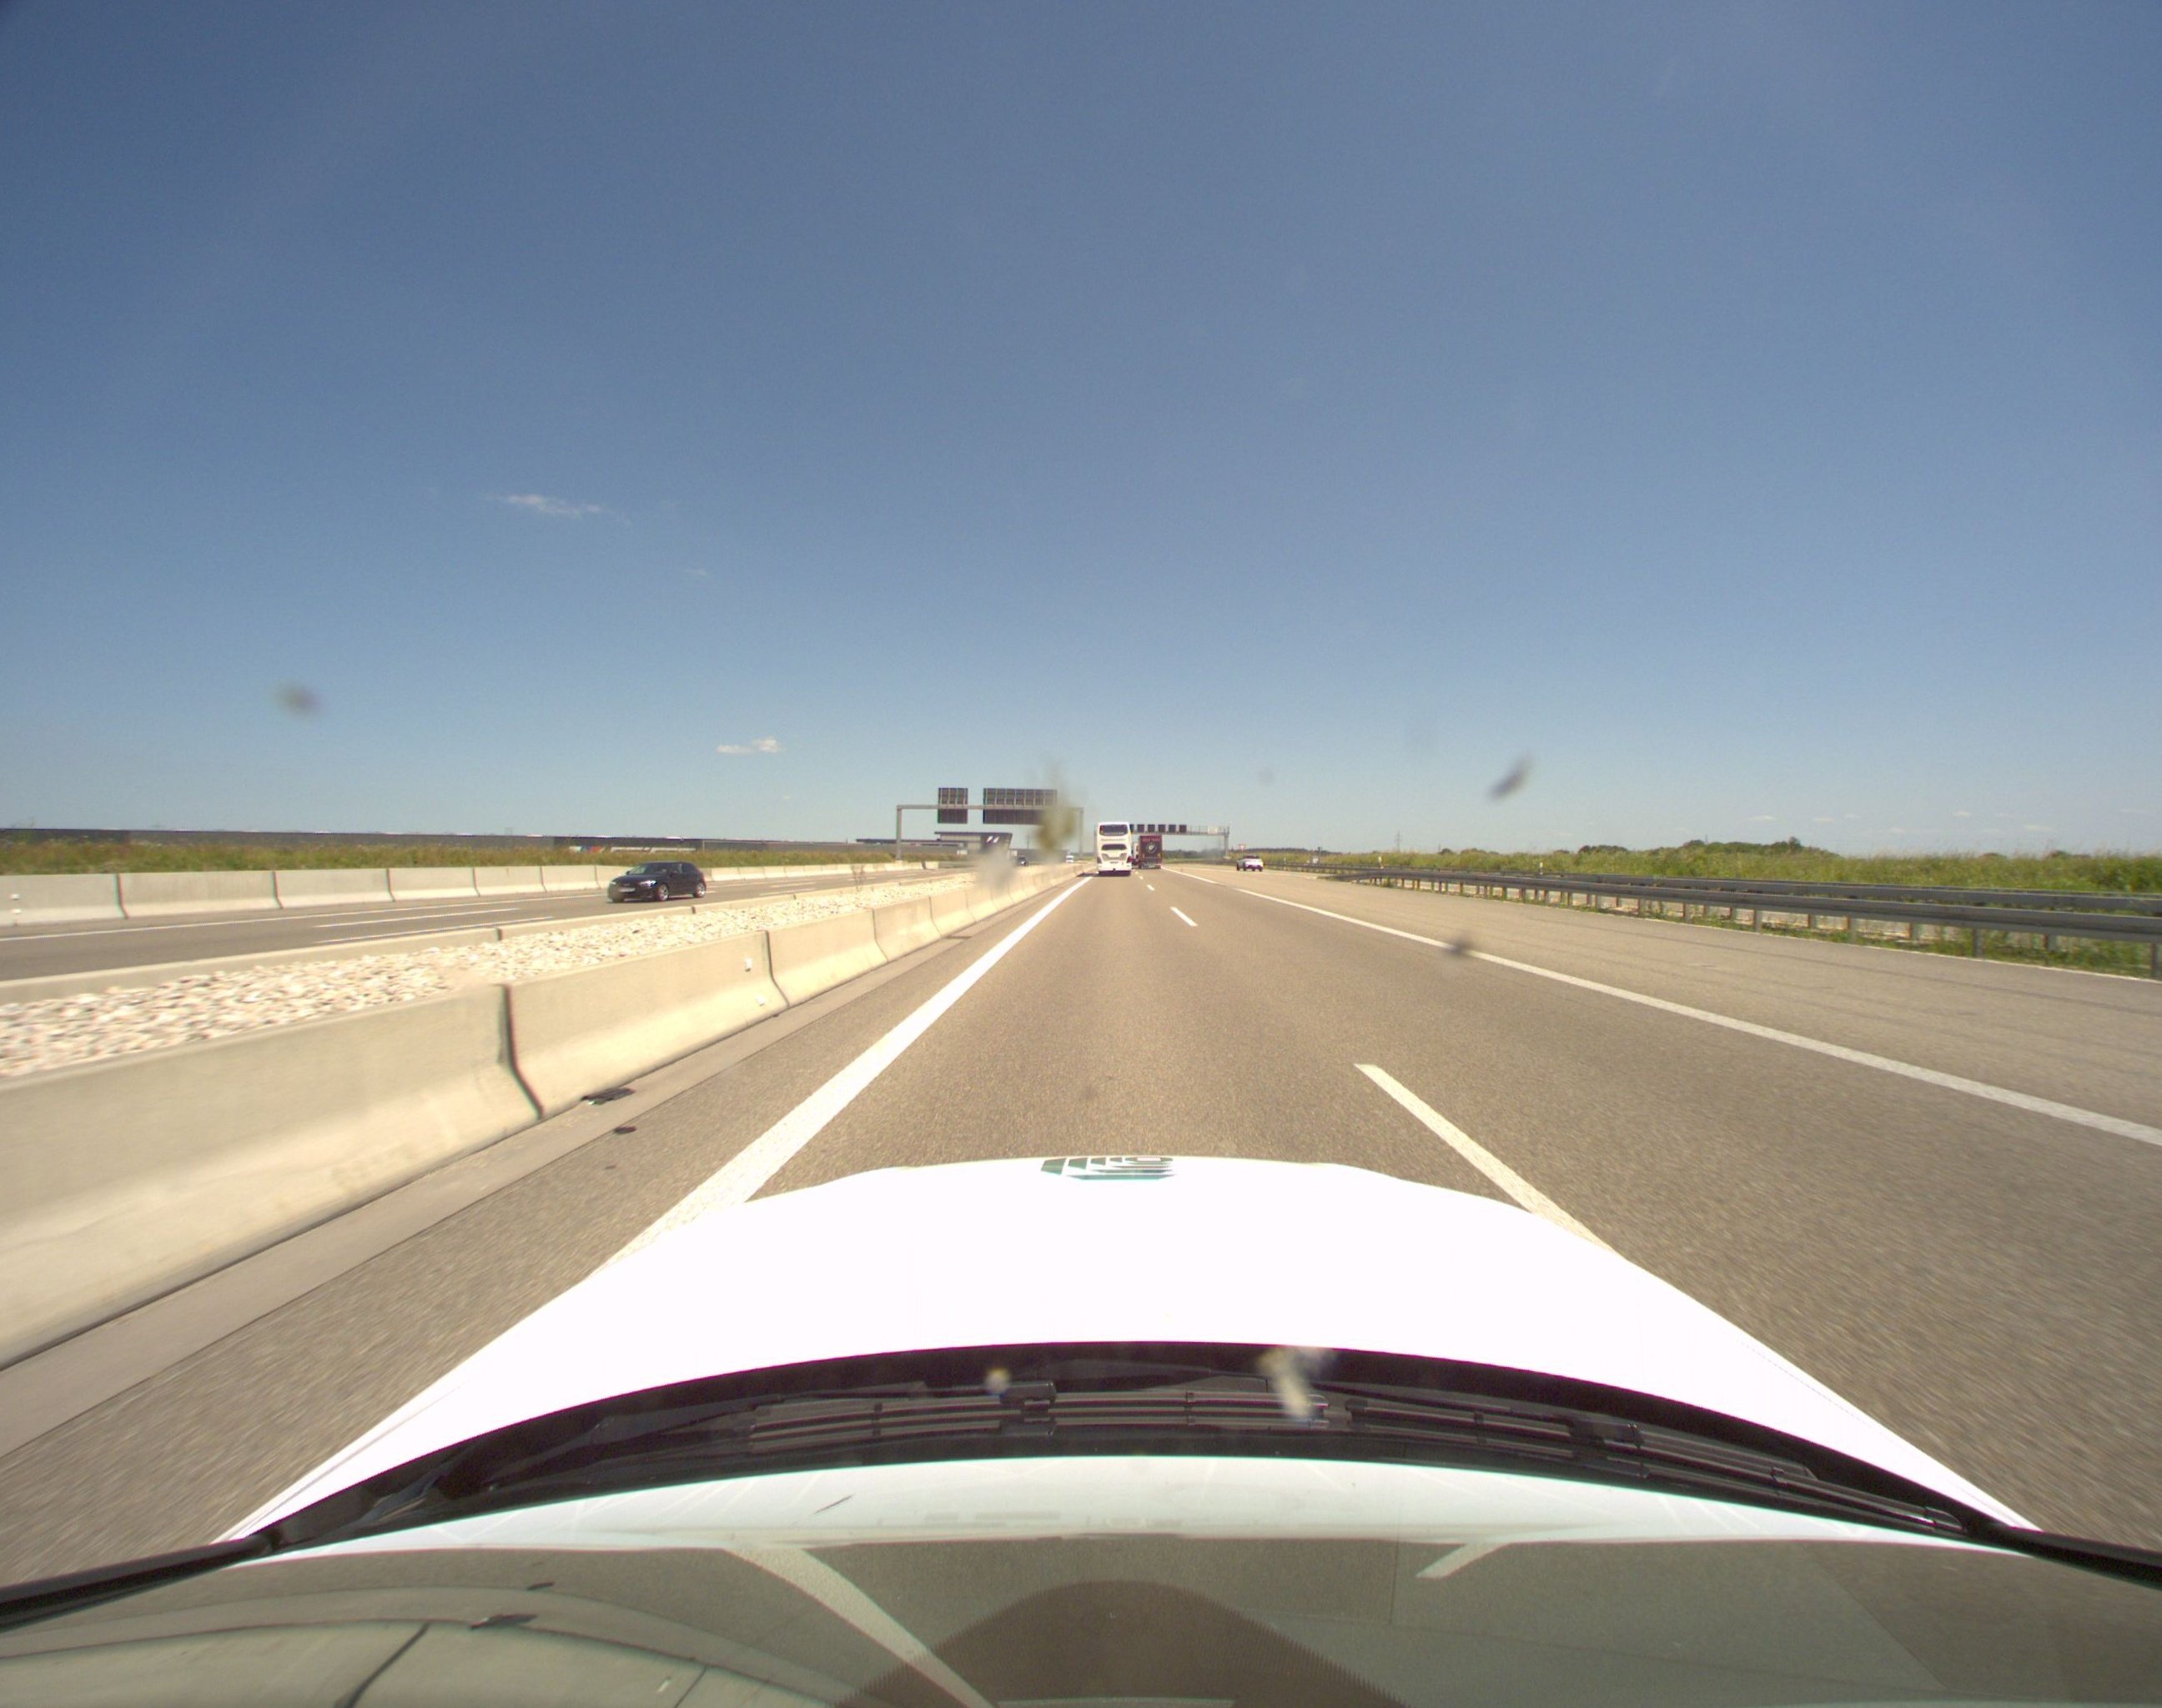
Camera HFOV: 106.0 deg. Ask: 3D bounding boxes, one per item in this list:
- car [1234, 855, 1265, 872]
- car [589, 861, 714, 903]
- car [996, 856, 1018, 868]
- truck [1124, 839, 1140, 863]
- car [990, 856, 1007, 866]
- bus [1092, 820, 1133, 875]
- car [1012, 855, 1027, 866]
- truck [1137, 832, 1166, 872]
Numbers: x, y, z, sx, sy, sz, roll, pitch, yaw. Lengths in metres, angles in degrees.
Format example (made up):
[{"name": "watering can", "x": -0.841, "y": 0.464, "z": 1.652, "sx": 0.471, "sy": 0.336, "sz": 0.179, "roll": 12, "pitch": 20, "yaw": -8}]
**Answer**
[{"name": "car", "x": 16.191, "y": 0.905, "z": 78.541, "sx": 1.887, "sy": 1.529, "sz": 4.255, "roll": 0, "pitch": 0, "yaw": -4}, {"name": "car", "x": -15.217, "y": 0.945, "z": 29.143, "sx": 1.985, "sy": 1.379, "sz": 4.367, "roll": 0, "pitch": 0, "yaw": 3}, {"name": "car", "x": -8.598, "y": 0.894, "z": 95.100, "sx": 1.836, "sy": 1.382, "sz": 4.757, "roll": 0, "pitch": 0, "yaw": 4}, {"name": "truck", "x": 8.462, "y": -0.469, "z": 134.735, "sx": 2.428, "sy": 3.789, "sz": 6.496, "roll": 0, "pitch": 0, "yaw": 2}, {"name": "car", "x": -11.136, "y": 0.930, "z": 109.650, "sx": 1.885, "sy": 1.329, "sz": 3.985, "roll": 0, "pitch": 0, "yaw": 0}, {"name": "bus", "x": 2.402, "y": -0.529, "z": 63.934, "sx": 2.969, "sy": 3.974, "sz": 9.107, "roll": 0, "pitch": 0, "yaw": 1}, {"name": "car", "x": -10.355, "y": 1.127, "z": 137.491, "sx": 1.839, "sy": 1.823, "sz": 4.924, "roll": 0, "pitch": 0, "yaw": 2}, {"name": "truck", "x": 8.717, "y": -0.104, "z": 101.137, "sx": 3.364, "sy": 4.464, "sz": 13.580, "roll": 0, "pitch": -2, "yaw": 4}]
